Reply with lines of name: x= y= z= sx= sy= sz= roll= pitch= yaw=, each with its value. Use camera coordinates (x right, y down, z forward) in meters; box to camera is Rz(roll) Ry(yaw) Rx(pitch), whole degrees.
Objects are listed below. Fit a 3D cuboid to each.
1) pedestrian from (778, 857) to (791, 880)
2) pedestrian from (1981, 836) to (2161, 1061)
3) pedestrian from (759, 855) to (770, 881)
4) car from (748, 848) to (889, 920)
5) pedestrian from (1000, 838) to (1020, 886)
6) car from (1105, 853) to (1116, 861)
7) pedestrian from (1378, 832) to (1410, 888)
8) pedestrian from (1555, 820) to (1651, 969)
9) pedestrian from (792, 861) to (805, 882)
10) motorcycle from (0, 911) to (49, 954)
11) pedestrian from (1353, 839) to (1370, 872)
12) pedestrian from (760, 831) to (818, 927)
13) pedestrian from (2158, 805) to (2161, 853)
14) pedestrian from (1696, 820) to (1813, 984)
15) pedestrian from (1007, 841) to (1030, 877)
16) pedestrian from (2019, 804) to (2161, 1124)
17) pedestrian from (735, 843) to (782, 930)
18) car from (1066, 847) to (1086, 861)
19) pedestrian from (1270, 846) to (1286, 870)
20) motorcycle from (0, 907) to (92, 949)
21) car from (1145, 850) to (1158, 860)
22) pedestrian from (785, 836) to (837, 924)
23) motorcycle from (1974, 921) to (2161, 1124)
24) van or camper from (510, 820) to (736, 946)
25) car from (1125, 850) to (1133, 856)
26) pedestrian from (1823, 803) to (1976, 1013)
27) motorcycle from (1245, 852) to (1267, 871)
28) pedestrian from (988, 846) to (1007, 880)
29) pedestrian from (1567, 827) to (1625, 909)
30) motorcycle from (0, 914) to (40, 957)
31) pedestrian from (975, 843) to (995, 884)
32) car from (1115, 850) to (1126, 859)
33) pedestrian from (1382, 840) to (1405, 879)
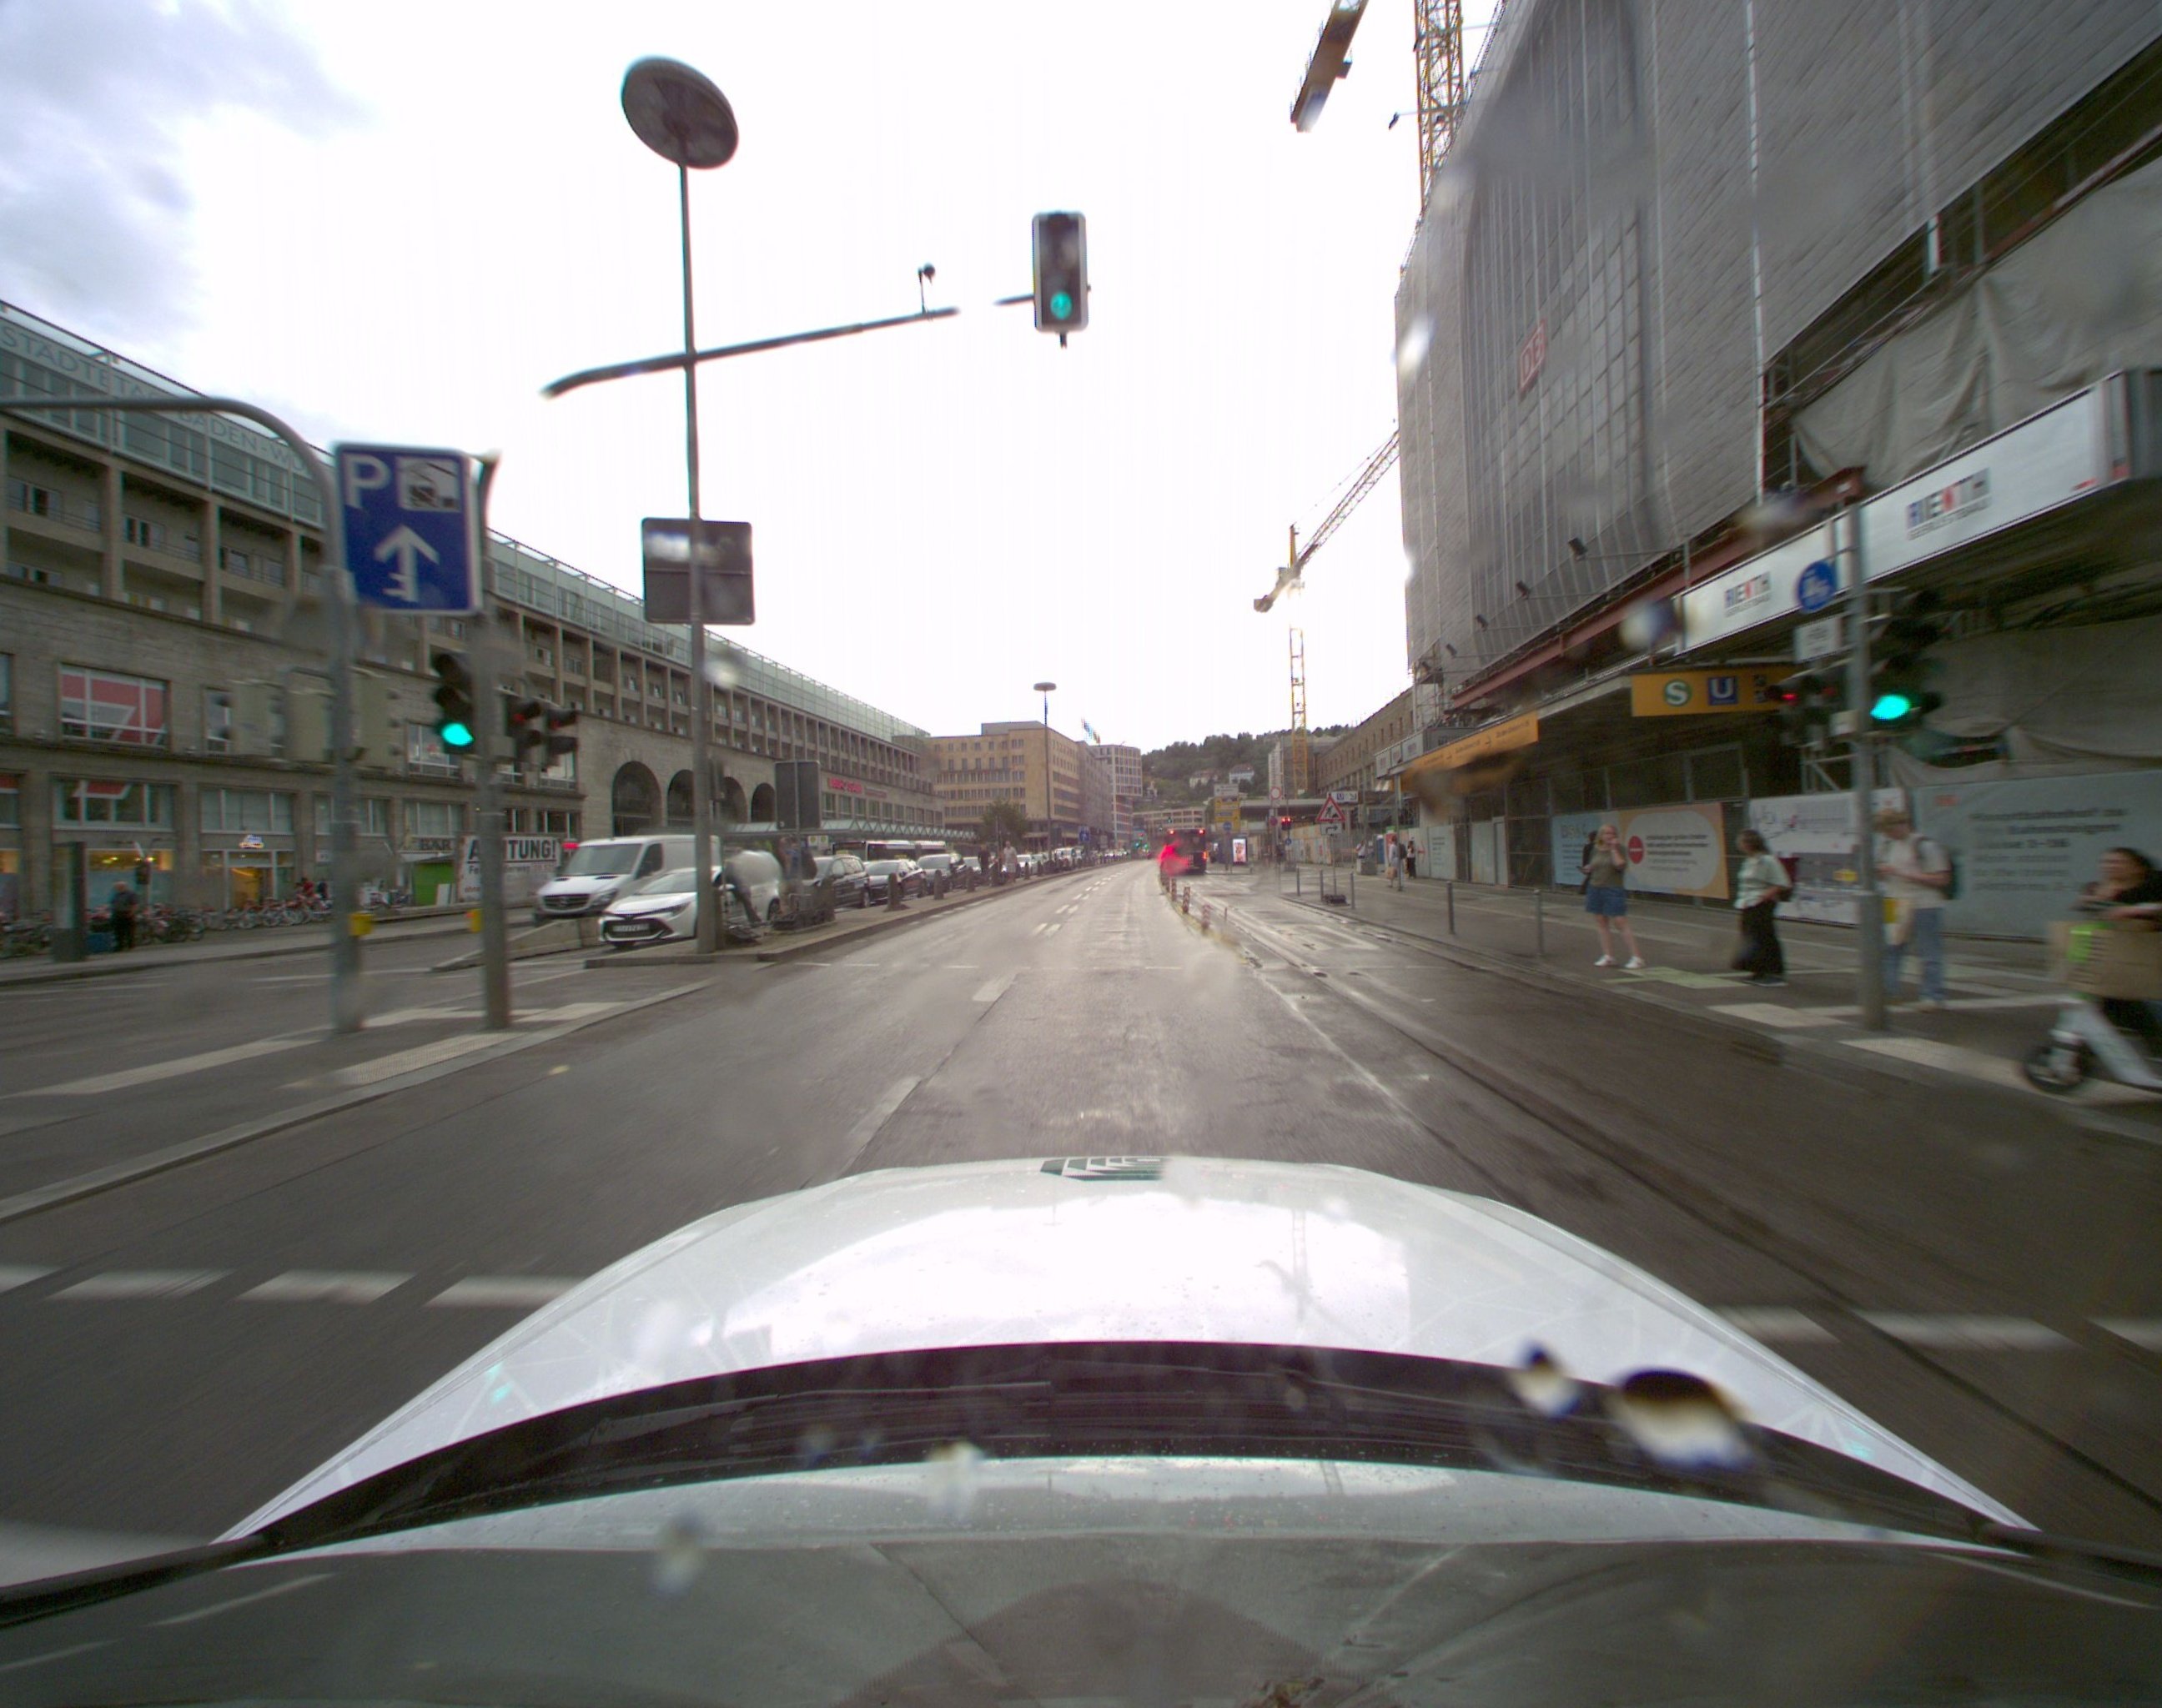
pedestrian: x=-18.394 y=0.909 z=50.567 sx=0.708 sy=1.393 sz=0.698 roll=-1 pitch=1 yaw=-24
pedestrian: x=7.005 y=0.617 z=5.698 sx=0.555 sy=1.449 sz=0.713 roll=-4 pitch=0 yaw=7
pedestrian: x=-18.704 y=0.797 z=48.084 sx=0.586 sy=1.507 sz=0.621 roll=-1 pitch=1 yaw=-24
car: x=-7.076 y=0.737 z=22.569 sx=1.920 sy=1.690 sz=4.689 roll=-3 pitch=0 yaw=5
pedestrian: x=-3.049 y=0.335 z=35.072 sx=0.719 sy=2.007 sz=0.774 roll=-1 pitch=0 yaw=5
car: x=6.534 y=0.647 z=179.848 sx=1.952 sy=1.564 sz=4.844 roll=-4 pitch=1 yaw=6
pedestrian: x=10.675 y=0.206 z=27.794 sx=0.719 sy=1.847 sz=0.811 roll=-4 pitch=0 yaw=6
pedestrian: x=6.540 y=0.485 z=10.236 sx=0.557 sy=1.759 sz=0.750 roll=-4 pitch=0 yaw=-8
pedestrian: x=-18.630 y=1.144 z=53.668 sx=0.708 sy=1.393 sz=0.698 roll=-1 pitch=1 yaw=-24
motorcycle: x=-28.541 y=2.077 z=21.469 sx=1.705 sy=1.057 sz=0.582 roll=-1 pitch=1 yaw=-7
pedestrian: x=16.077 y=0.082 z=46.709 sx=0.641 sy=1.847 sz=0.660 roll=-4 pitch=0 yaw=5
pedestrian: x=-5.614 y=0.471 z=15.681 sx=0.552 sy=1.775 sz=0.757 roll=-4 pitch=0 yaw=39
pedestrian: x=7.674 y=0.472 z=5.237 sx=0.560 sy=1.650 sz=0.616 roll=-4 pitch=0 yaw=10
pedestrian: x=7.165 y=0.489 z=8.696 sx=0.555 sy=1.640 sz=0.753 roll=-4 pitch=0 yaw=7
pedestrian: x=-3.128 y=0.230 z=40.853 sx=1.045 sy=1.768 sz=0.617 roll=-2 pitch=0 yaw=5
pedestrian: x=6.034 y=0.591 z=4.659 sx=0.584 sy=1.740 sz=0.813 roll=-2 pitch=0 yaw=-37
pedestrian: x=-6.430 y=0.635 z=16.246 sx=0.648 sy=1.711 sz=0.594 roll=0 pitch=1 yaw=4
car: x=-0.586 y=0.020 z=93.627 sx=1.985 sy=1.552 sz=4.004 roll=-2 pitch=0 yaw=4
pedestrian: x=14.228 y=0.284 z=58.791 sx=0.898 sy=1.635 sz=0.833 roll=-1 pitch=0 yaw=33
motorcycle: x=-28.718 y=2.037 z=22.566 sx=1.705 sy=1.057 sz=0.582 roll=-1 pitch=1 yaw=-7
car: x=12.247 y=0.149 z=140.422 sx=1.982 sy=1.552 sz=4.009 roll=-2 pitch=0 yaw=7
pedestrian: x=-5.675 y=0.539 z=17.151 sx=0.781 sy=1.775 sz=0.605 roll=-4 pitch=0 yaw=-6
motorcycle: x=6.053 y=0.948 z=4.649 sx=0.589 sy=1.021 sz=1.226 roll=-2 pitch=0 yaw=-37
van or camper: x=-10.845 y=0.587 z=19.917 sx=1.985 sy=2.514 sz=5.377 roll=-4 pitch=0 yaw=4
car: x=13.172 y=-0.256 z=222.294 sx=1.952 sy=1.564 sz=4.844 roll=-4 pitch=1 yaw=6
pedestrian: x=7.268 y=0.456 z=7.270 sx=0.555 sy=1.751 sz=0.713 roll=-4 pitch=0 yaw=7
motorcycle: x=10.969 y=0.468 z=51.072 sx=0.579 sy=1.166 sz=1.627 roll=-1 pitch=0 yaw=45
pedestrian: x=-3.997 y=0.401 z=39.223 sx=0.719 sy=1.606 sz=0.997 roll=0 pitch=1 yaw=5
pedestrian: x=10.816 y=0.284 z=17.134 sx=0.546 sy=1.632 sz=0.997 roll=-4 pitch=0 yaw=6
motorcycle: x=-28.488 y=2.130 z=21.375 sx=1.436 sy=1.057 sz=0.602 roll=0 pitch=1 yaw=-5
pedestrian: x=-4.150 y=0.400 z=35.202 sx=0.695 sy=1.754 sz=0.712 roll=-2 pitch=0 yaw=5
car: x=8.365 y=0.077 z=171.526 sx=1.952 sy=1.564 sz=4.844 roll=-4 pitch=1 yaw=6
pedestrian: x=12.816 y=0.210 z=33.416 sx=0.648 sy=1.539 sz=0.666 roll=-4 pitch=0 yaw=7
